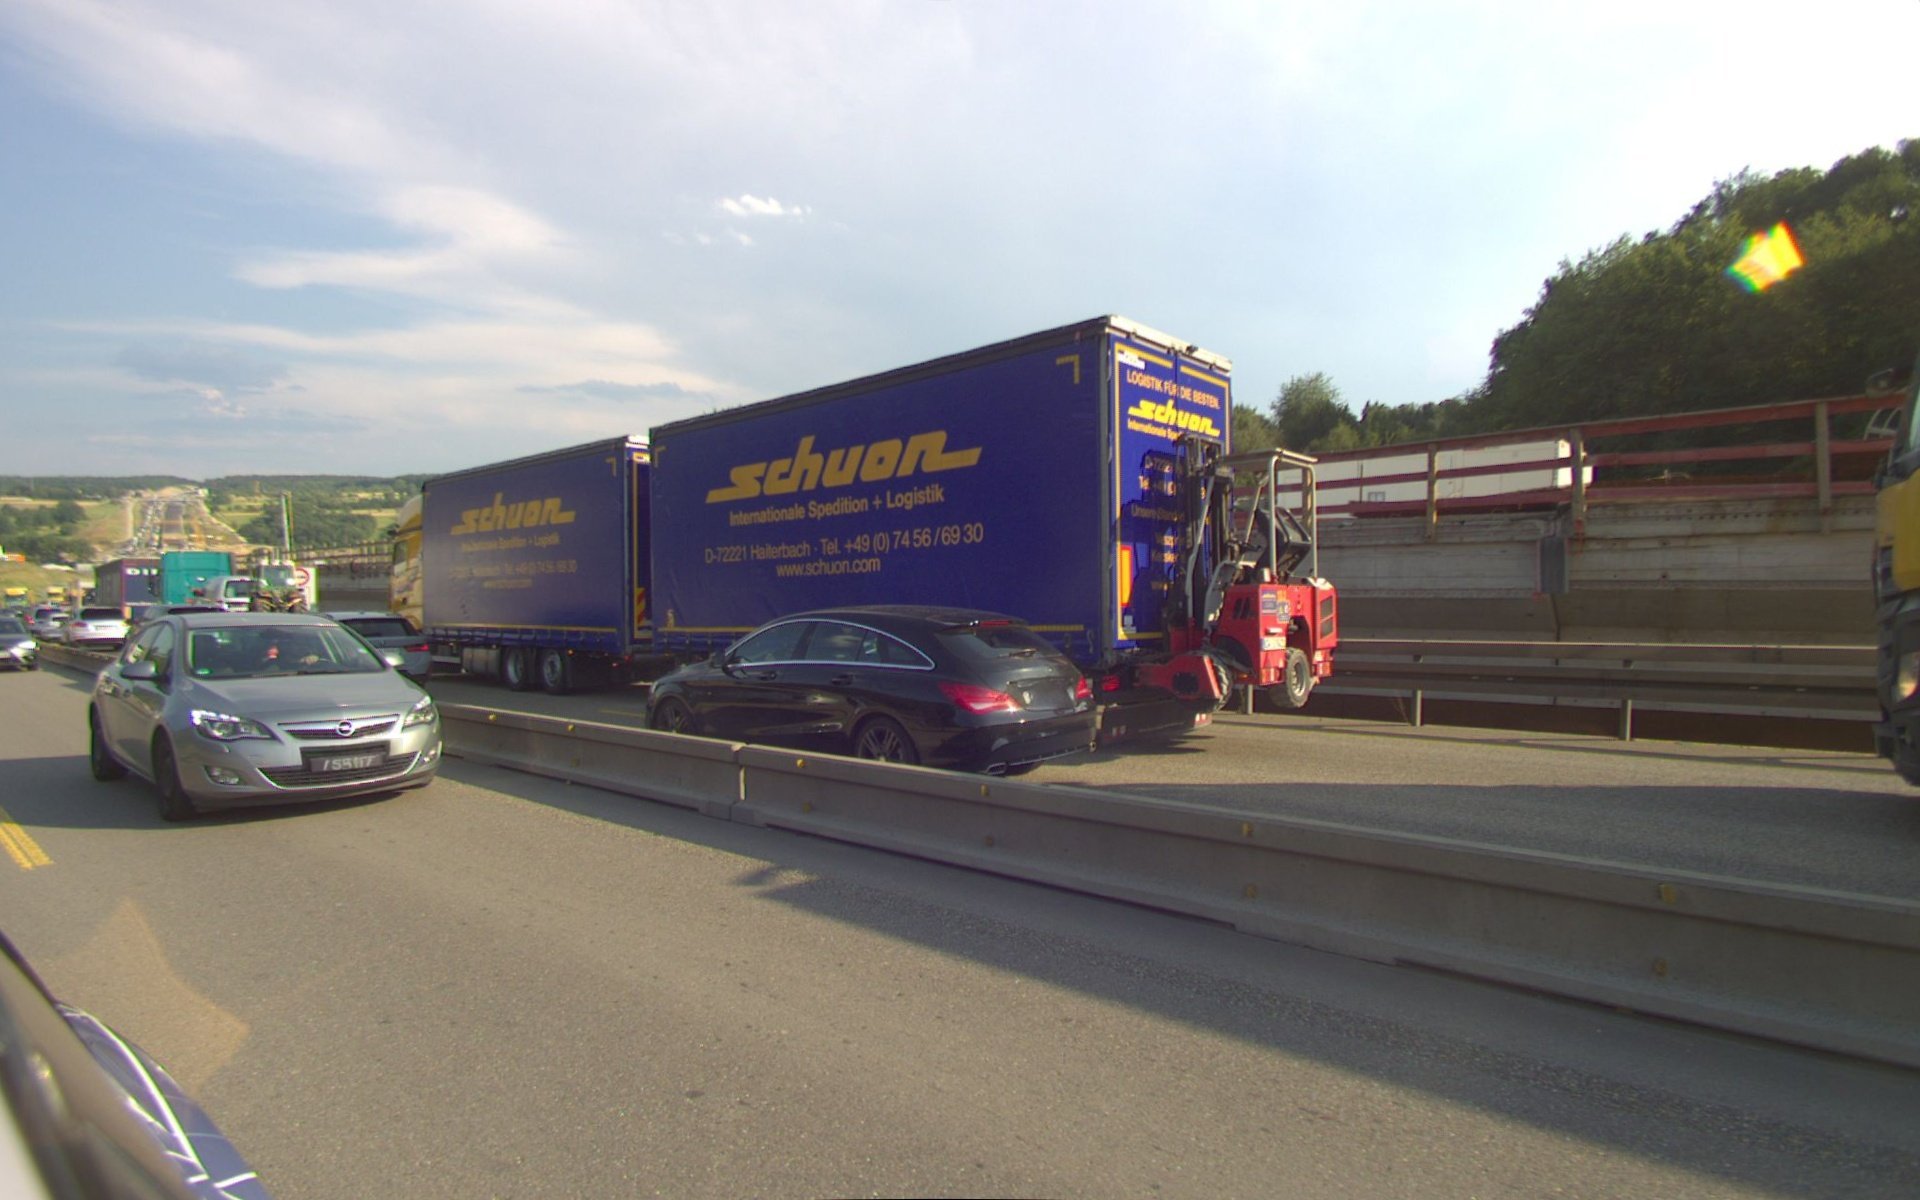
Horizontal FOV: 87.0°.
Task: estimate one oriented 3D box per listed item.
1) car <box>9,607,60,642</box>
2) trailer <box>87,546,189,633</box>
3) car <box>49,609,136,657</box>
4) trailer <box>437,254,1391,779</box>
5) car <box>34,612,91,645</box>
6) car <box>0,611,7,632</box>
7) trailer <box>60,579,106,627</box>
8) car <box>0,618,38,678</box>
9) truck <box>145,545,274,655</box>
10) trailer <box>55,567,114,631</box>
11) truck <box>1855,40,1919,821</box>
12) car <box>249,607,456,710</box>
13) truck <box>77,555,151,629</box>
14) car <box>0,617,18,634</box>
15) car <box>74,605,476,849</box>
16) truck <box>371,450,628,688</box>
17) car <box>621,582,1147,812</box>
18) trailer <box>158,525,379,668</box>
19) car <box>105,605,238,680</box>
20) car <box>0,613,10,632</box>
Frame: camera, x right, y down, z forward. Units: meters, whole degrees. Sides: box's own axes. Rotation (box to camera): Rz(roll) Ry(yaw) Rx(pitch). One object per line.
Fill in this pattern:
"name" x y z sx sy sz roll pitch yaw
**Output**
"car" -55.100 1.425 60.214 5.132 1.948 1.803 0 -3 44
"trailer" -43.906 -0.450 53.832 12.496 4.154 2.684 -1 -2 44
"car" -32.908 1.200 38.354 4.848 1.657 1.938 0 0 42
"trailer" -2.830 -0.680 14.645 16.748 4.166 2.686 0 0 42
"car" -44.505 1.394 50.129 4.819 1.533 1.782 0 -2 45
"car" -81.769 1.857 85.379 1.841 1.598 4.750 -4 4 -43
"trailer" -83.295 0.262 96.025 2.743 4.235 13.847 1 0 -43
"car" -25.221 1.225 26.198 1.798 1.452 4.002 -2 1 -45
"truck" -28.746 0.035 38.649 7.112 3.834 2.718 -1 -2 43
"trailer" -64.940 -0.079 75.022 2.878 4.499 7.157 -1 0 -44
"truck" 7.574 -0.907 5.183 4.395 4.228 2.666 0 0 40
"car" -10.553 0.890 17.409 4.724 1.509 1.769 0 0 42
"truck" -49.748 -0.391 59.492 5.031 4.146 2.718 -1 -2 43
"car" -92.900 2.476 98.451 1.754 1.467 4.819 -2 2 -44
"car" -5.744 0.802 8.286 4.117 1.498 1.786 -1 0 42
"truck" -9.512 -0.543 20.634 5.793 4.172 2.672 0 0 42
"car" -0.869 0.616 8.649 4.613 1.464 1.778 0 0 41
"trailer" -23.467 -0.016 33.632 16.049 3.845 2.718 -1 -2 44
"car" -20.210 1.002 25.865 4.690 1.714 1.906 0 0 42
"car" -88.729 2.095 93.193 1.746 1.562 4.483 -1 2 -44
